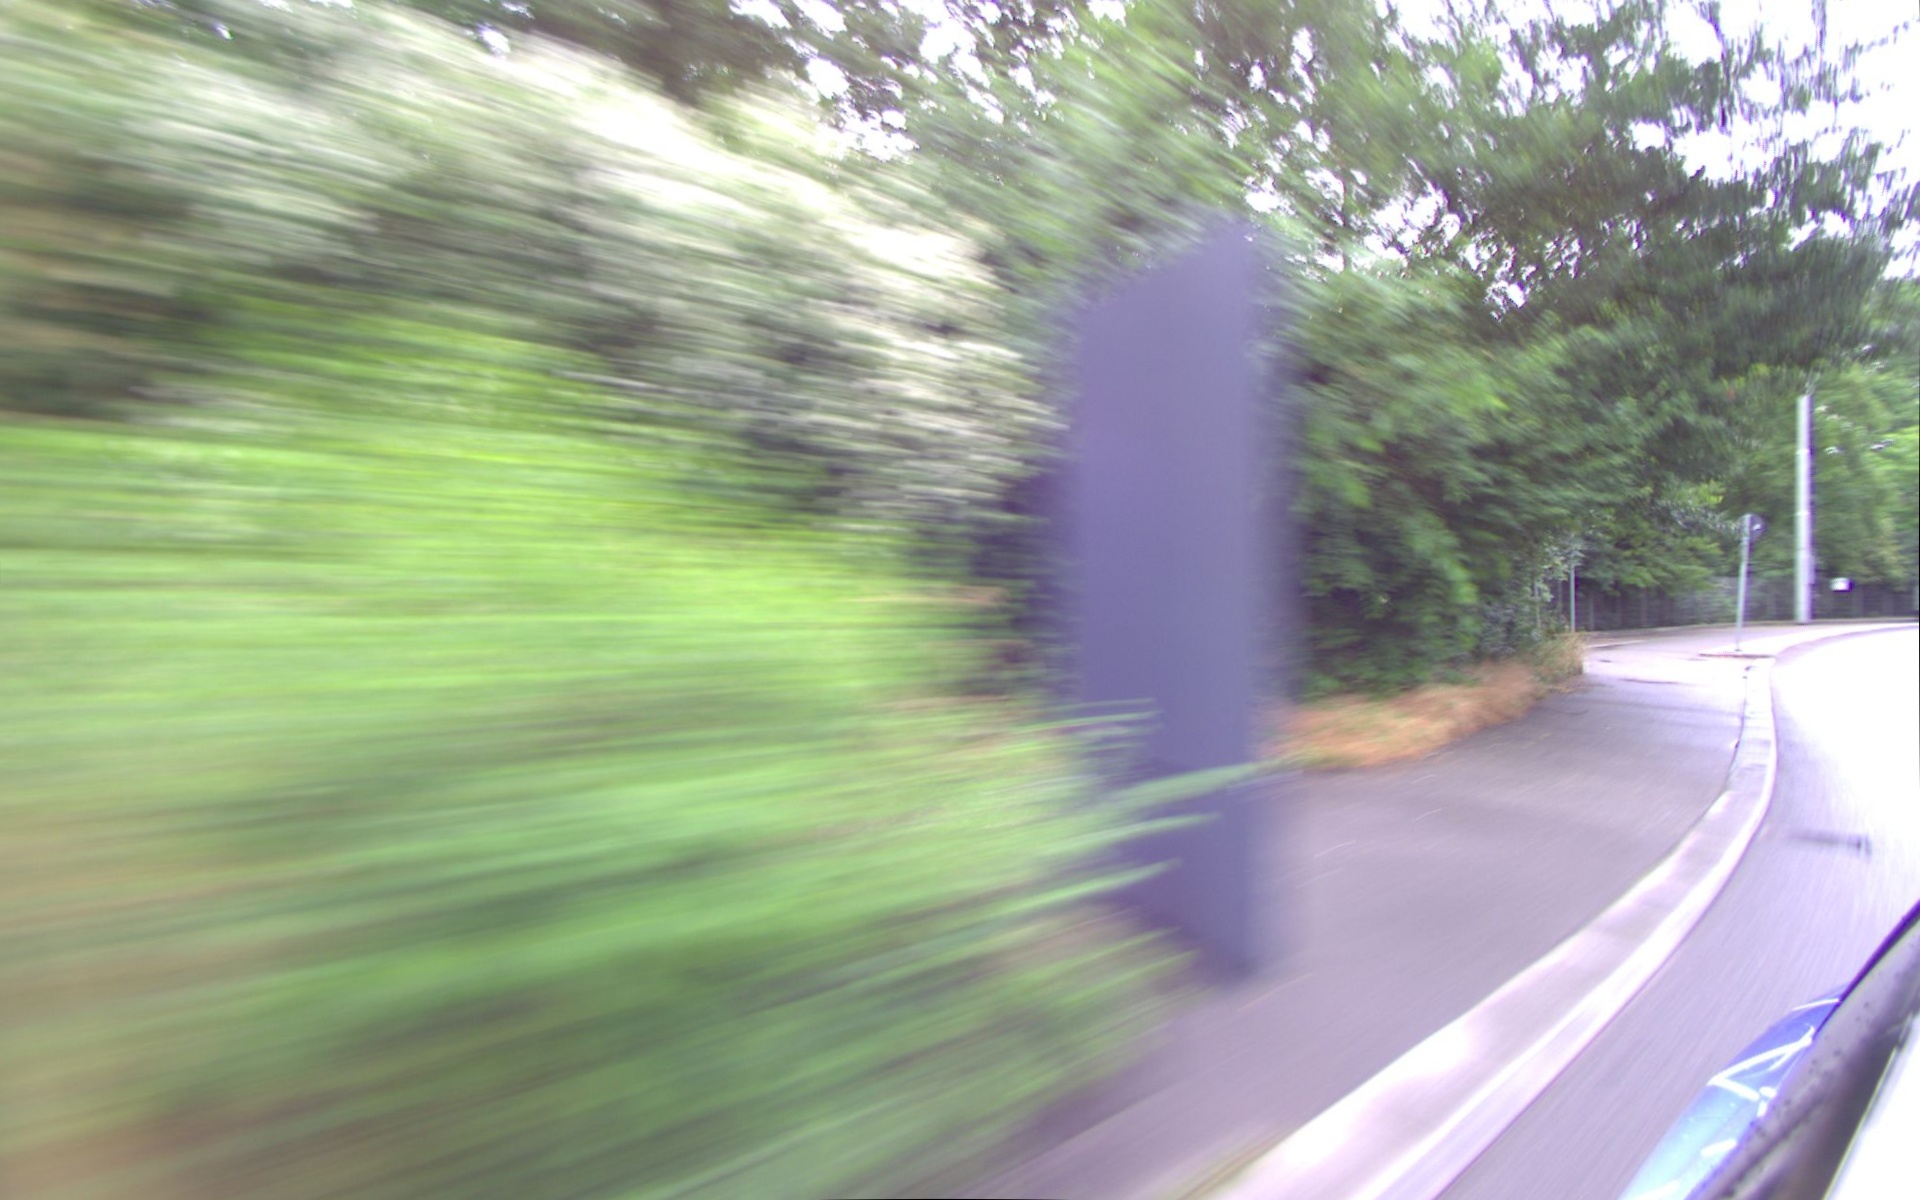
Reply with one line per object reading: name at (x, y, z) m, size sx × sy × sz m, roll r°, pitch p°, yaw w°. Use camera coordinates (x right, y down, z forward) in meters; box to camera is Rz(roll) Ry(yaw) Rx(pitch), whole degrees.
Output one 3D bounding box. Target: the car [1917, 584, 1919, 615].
car at (45.964, -0.096, 45.904) m, size 4.086 × 1.395 × 1.881 m, roll 0°, pitch -3°, yaw -17°
